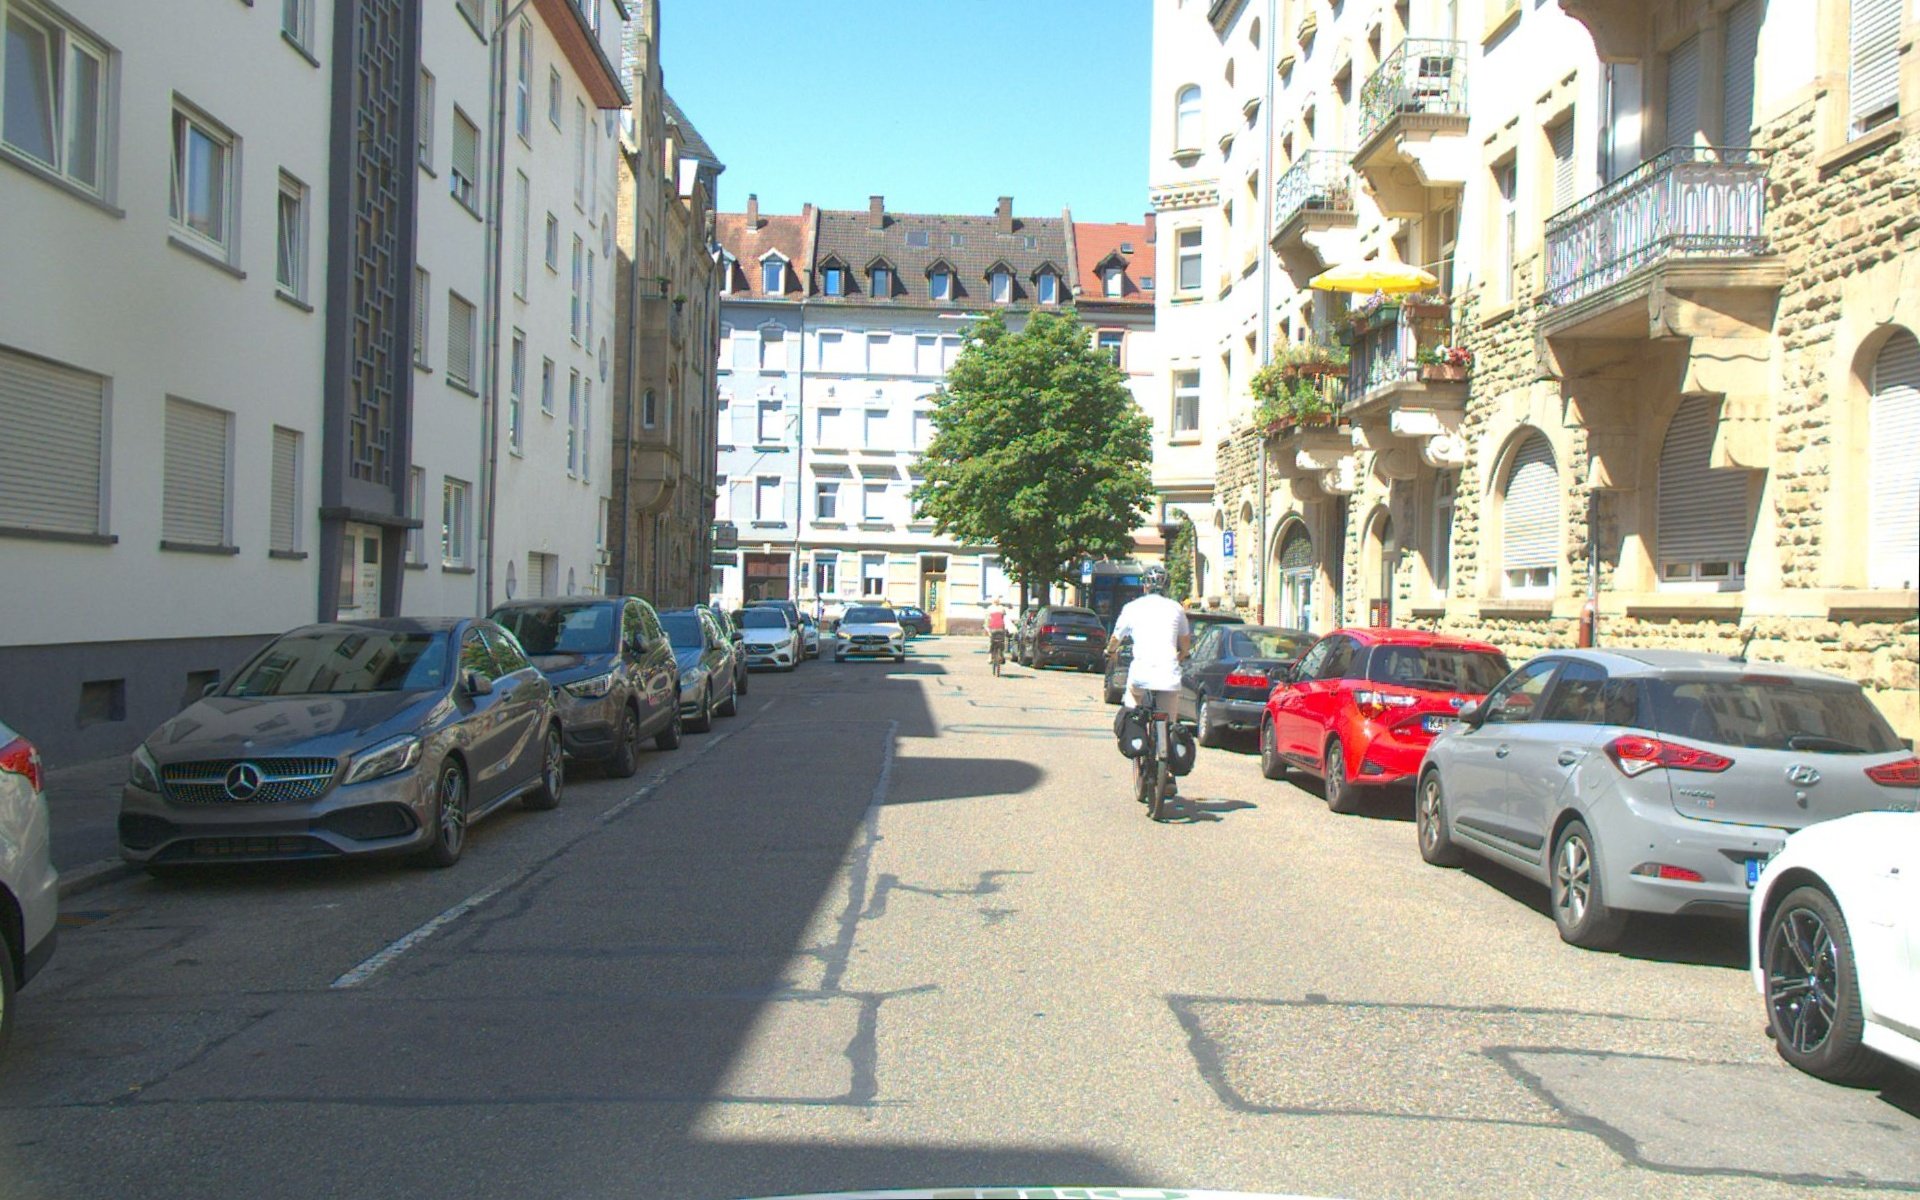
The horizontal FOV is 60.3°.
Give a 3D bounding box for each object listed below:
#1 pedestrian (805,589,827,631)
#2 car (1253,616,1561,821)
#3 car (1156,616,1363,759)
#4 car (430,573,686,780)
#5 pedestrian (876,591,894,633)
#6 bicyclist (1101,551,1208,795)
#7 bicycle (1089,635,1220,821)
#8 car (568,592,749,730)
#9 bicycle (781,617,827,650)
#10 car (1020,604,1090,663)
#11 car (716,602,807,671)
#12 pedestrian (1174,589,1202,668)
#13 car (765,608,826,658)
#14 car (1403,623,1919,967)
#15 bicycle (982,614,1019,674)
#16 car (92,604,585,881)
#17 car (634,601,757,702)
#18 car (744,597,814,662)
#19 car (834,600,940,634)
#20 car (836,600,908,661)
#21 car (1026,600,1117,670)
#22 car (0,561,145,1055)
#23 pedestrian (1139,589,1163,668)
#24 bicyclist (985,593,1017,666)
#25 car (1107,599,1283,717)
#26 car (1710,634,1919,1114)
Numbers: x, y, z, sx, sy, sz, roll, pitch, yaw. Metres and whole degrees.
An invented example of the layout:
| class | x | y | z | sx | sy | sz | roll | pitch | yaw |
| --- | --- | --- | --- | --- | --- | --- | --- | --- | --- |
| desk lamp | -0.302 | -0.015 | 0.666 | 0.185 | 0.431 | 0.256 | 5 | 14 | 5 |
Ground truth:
| class | x | y | z | sx | sy | sz | roll | pitch | yaw |
| --- | --- | --- | --- | --- | --- | --- | --- | --- | --- |
| pedestrian | -6.660 | 0.467 | 76.554 | 0.832 | 1.922 | 0.936 | 1 | -1 | 8 |
| car | 3.799 | 0.936 | 14.703 | 1.539 | 1.478 | 3.841 | 3 | 0 | -2 |
| car | 3.553 | 0.989 | 20.299 | 1.483 | 1.423 | 3.969 | 5 | -1 | -4 |
| car | -3.636 | 0.638 | 15.606 | 1.571 | 1.673 | 3.975 | -1 | 0 | -2 |
| pedestrian | -3.395 | 0.538 | 75.018 | 0.712 | 1.886 | 0.683 | 1 | -1 | -12 |
| bicyclist | 1.480 | 0.546 | 12.663 | 0.657 | 1.791 | 0.609 | 3 | -1 | -1 |
| bicycle | 1.470 | 0.932 | 12.906 | 0.638 | 1.250 | 2.441 | 3 | -1 | -1 |
| car | -3.732 | 0.707 | 21.204 | 1.623 | 1.545 | 4.669 | -1 | 0 | -2 |
| bicycle | -5.209 | 1.115 | 55.212 | 1.496 | 1.025 | 0.366 | 4 | -1 | -6 |
| car | 2.762 | 0.953 | 49.000 | 1.630 | 1.567 | 4.176 | 3 | 0 | -2 |
| car | -4.530 | 0.808 | 38.223 | 1.741 | 1.485 | 4.277 | -1 | 0 | -2 |
| pedestrian | 5.588 | 0.696 | 40.618 | 0.586 | 1.913 | 0.883 | 1 | -1 | 4 |
| car | -4.788 | 0.929 | 48.581 | 1.668 | 1.376 | 4.511 | -1 | 0 | -4 |
| car | 3.871 | 0.928 | 9.543 | 1.557 | 1.478 | 3.856 | 3 | 0 | 0 |
| bicycle | 0.868 | 0.941 | 35.991 | 0.638 | 1.230 | 2.441 | 3 | -1 | -1 |
| car | -3.747 | 0.759 | 10.852 | 1.729 | 1.417 | 4.346 | -1 | 0 | -2 |
| car | -4.307 | 0.804 | 27.417 | 1.535 | 1.518 | 3.892 | -1 | 0 | -2 |
| car | -4.734 | 0.744 | 43.587 | 1.639 | 1.610 | 4.049 | -1 | 0 | -4 |
| car | -3.358 | 0.782 | 76.307 | 4.762 | 1.462 | 1.999 | 1 | -1 | -3 |
| car | -2.294 | 0.777 | 43.682 | 1.804 | 1.486 | 4.360 | -1 | 0 | -2 |
| car | 2.825 | 0.865 | 42.810 | 1.701 | 1.624 | 4.344 | 3 | 0 | -4 |
| car | -3.766 | 0.654 | 3.854 | 1.696 | 1.521 | 4.346 | -2 | 0 | -2 |
| pedestrian | 4.689 | 0.704 | 40.599 | 0.507 | 1.901 | 0.654 | 1 | -1 | 4 |
| bicyclist | 0.896 | 0.638 | 35.995 | 0.657 | 1.560 | 0.609 | 1 | -1 | -1 |
| car | 3.570 | 0.840 | 25.962 | 1.797 | 1.594 | 4.602 | 3 | 0 | -3 |
| car | 3.861 | 0.910 | 4.344 | 1.681 | 1.478 | 4.597 | 3 | 0 | 1 |
